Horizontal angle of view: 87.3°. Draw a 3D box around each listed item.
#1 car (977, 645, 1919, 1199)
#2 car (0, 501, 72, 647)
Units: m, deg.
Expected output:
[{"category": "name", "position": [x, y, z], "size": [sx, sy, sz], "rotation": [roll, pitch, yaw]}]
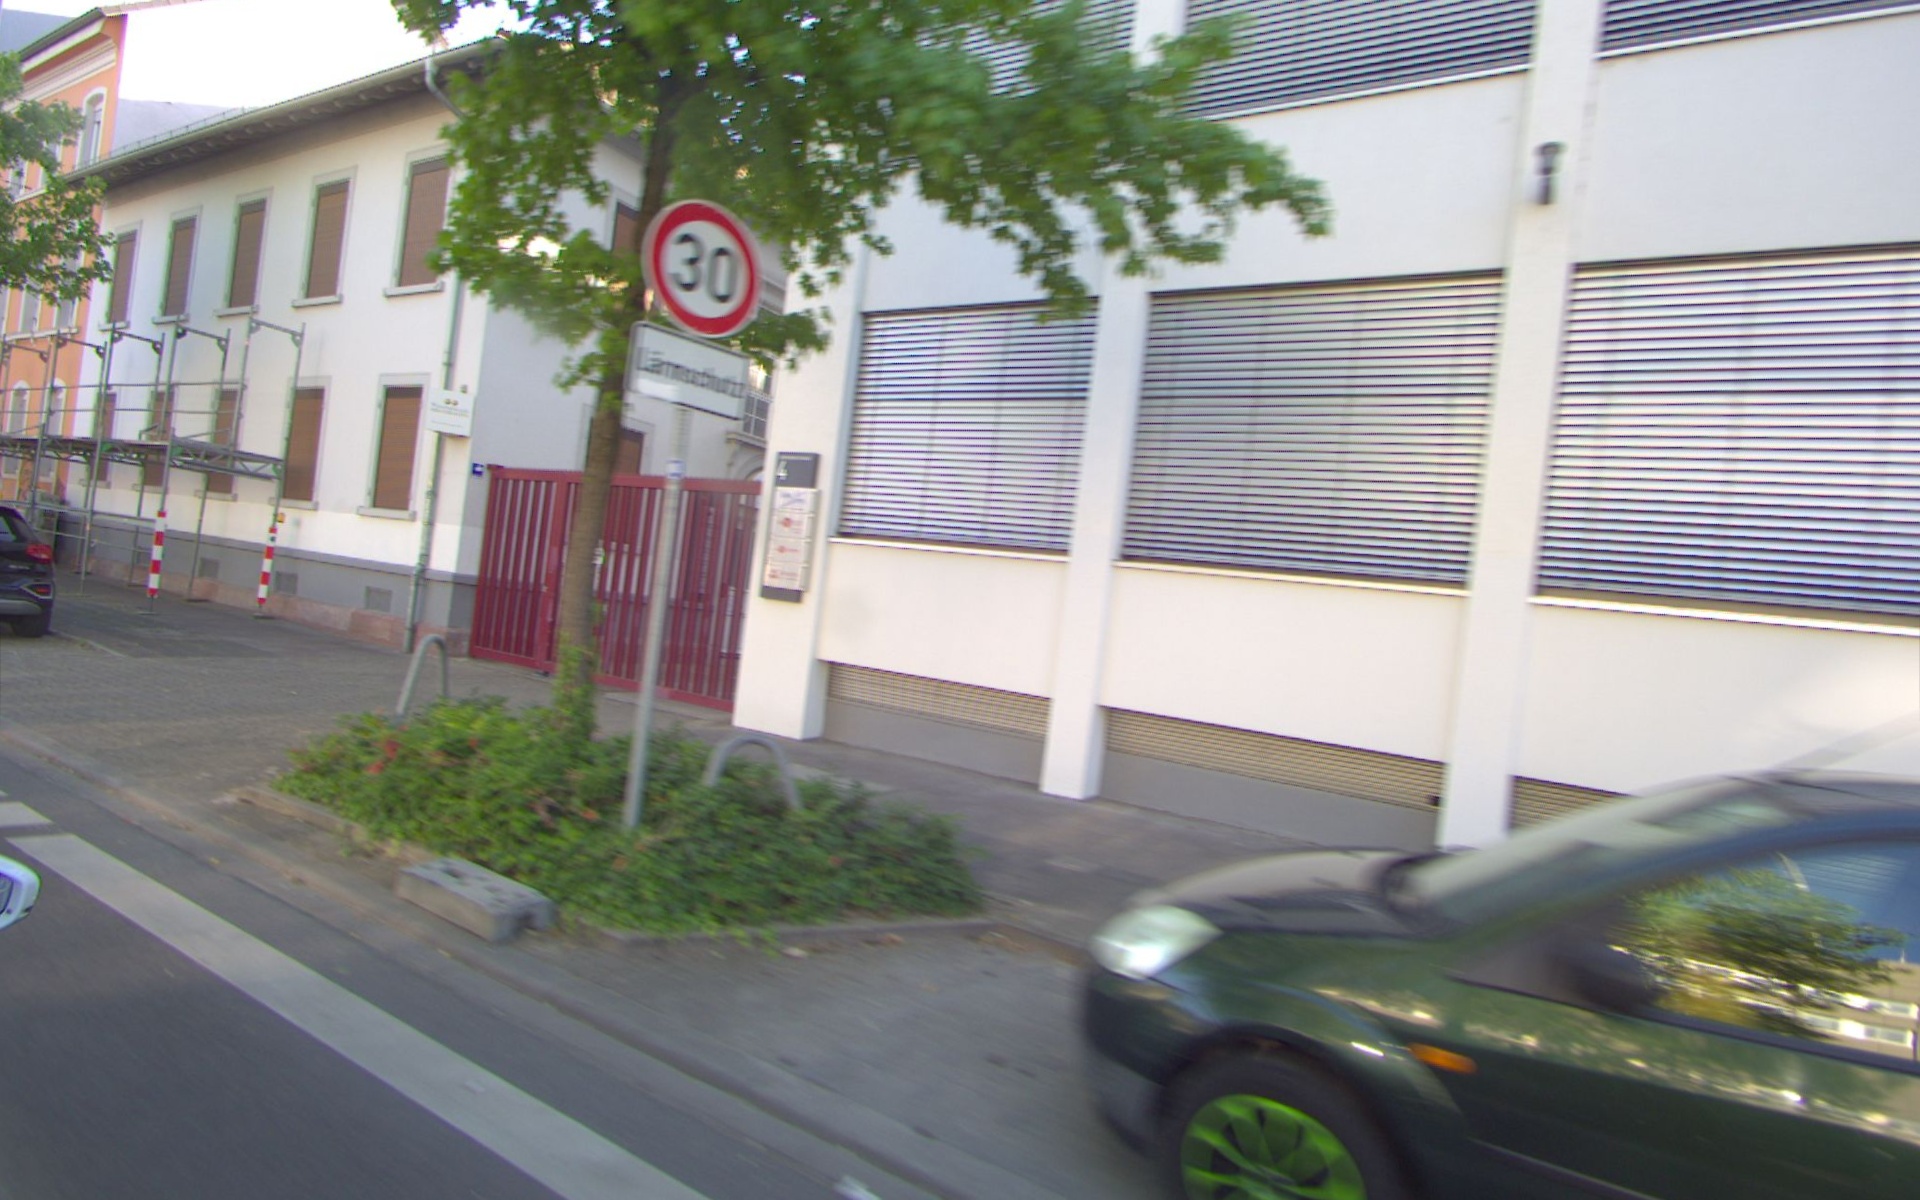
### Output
[{"category": "car", "position": [2.135, 1.097, 2.590], "size": [3.737, 1.465, 1.654], "rotation": [7, 0, 31]}, {"category": "car", "position": [-11.938, -0.491, 11.410], "size": [4.044, 1.502, 1.764], "rotation": [7, 0, 34]}]
